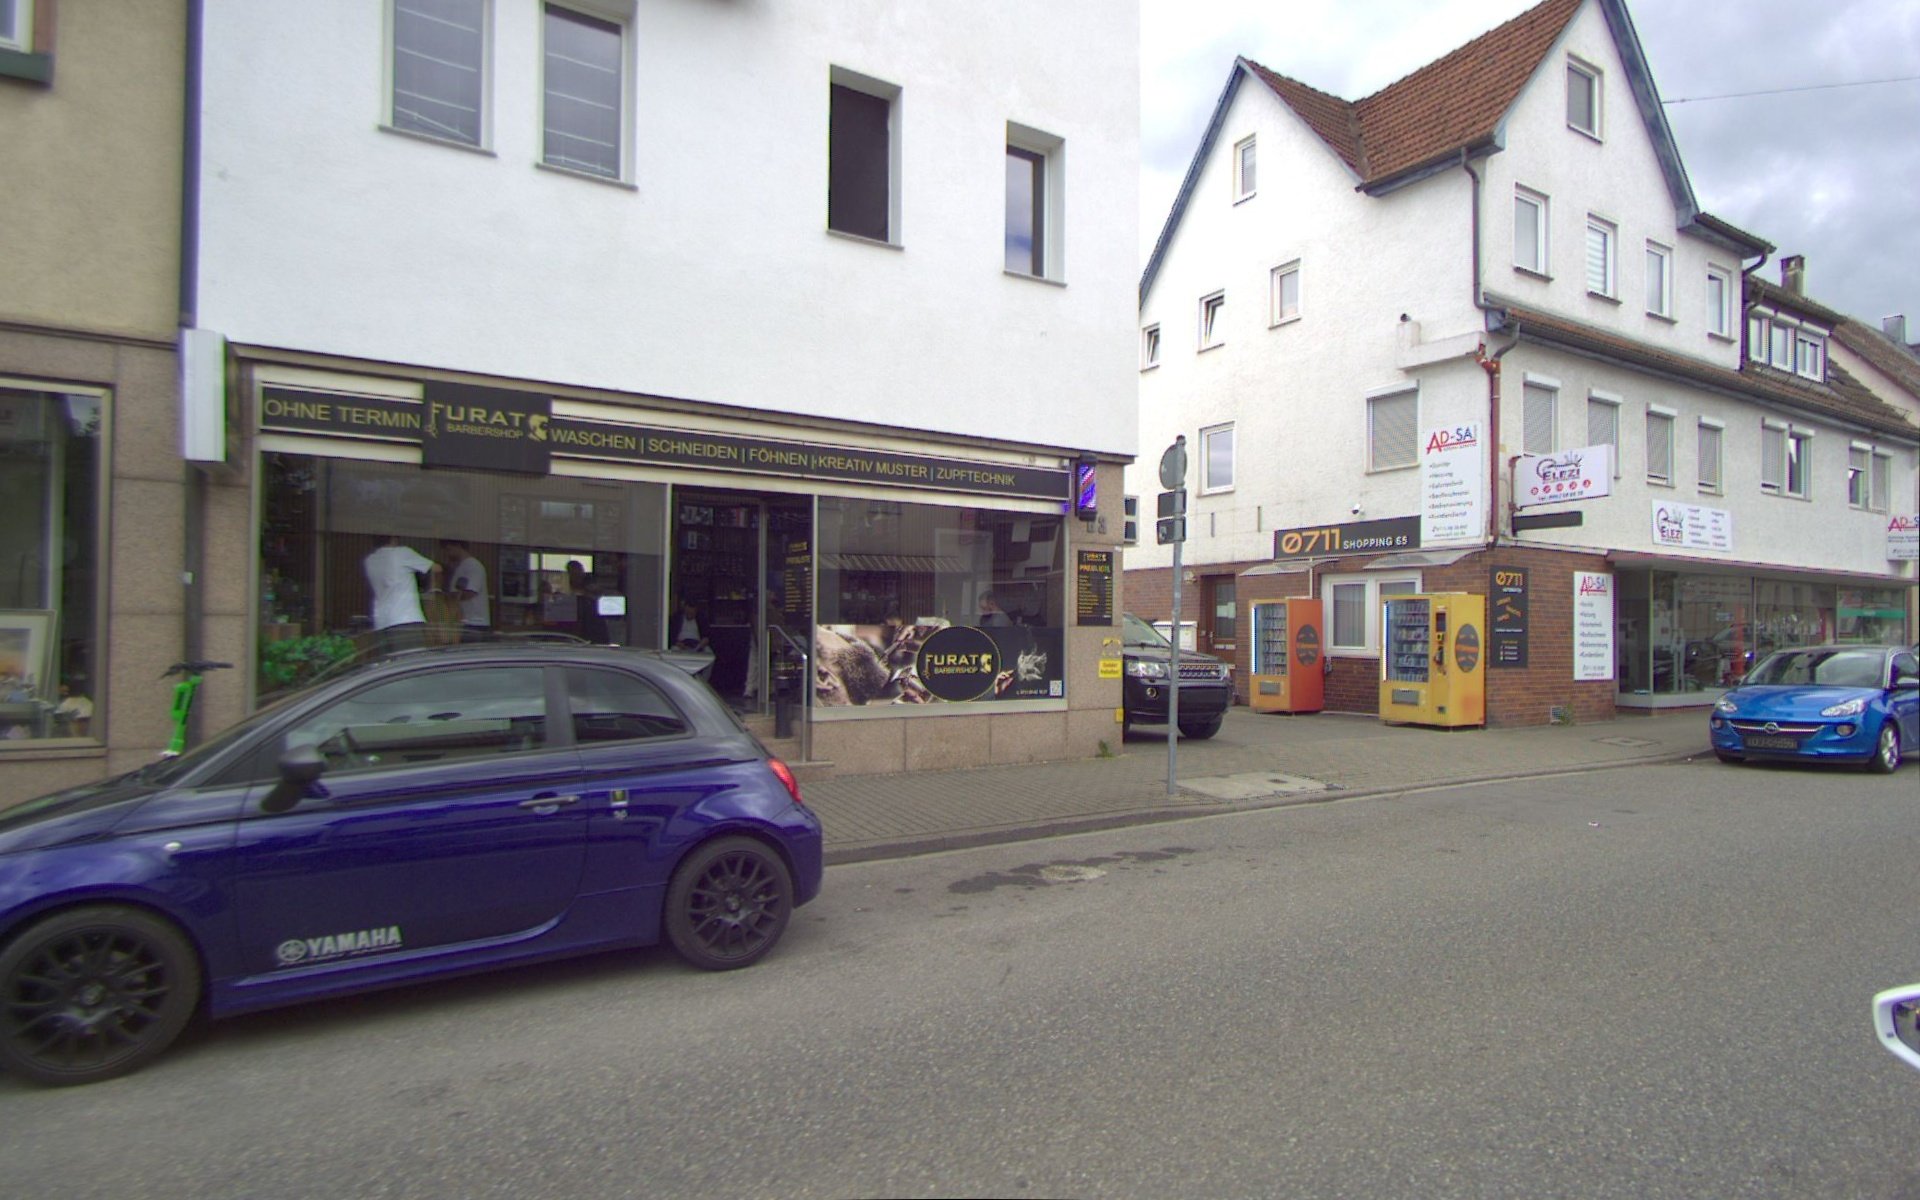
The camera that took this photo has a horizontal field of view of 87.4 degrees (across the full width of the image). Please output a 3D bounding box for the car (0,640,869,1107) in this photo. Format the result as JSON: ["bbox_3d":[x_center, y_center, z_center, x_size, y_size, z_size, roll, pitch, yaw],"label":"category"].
[{"bbox_3d":[-2.381,0.956,4.698,3.549,1.512,1.675,1,-3,-30],"label":"car"}]

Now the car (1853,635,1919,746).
[{"bbox_3d":[15.902,1.353,15.587,4.253,1.620,1.795,1,-3,-30],"label":"car"}]

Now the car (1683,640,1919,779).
[{"bbox_3d":[11.030,1.271,12.691,3.730,1.519,1.675,1,-3,-30],"label":"car"}]

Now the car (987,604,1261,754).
[{"bbox_3d":[2.038,0.938,13.737,1.970,1.725,3.981,1,-1,-21],"label":"car"}]
